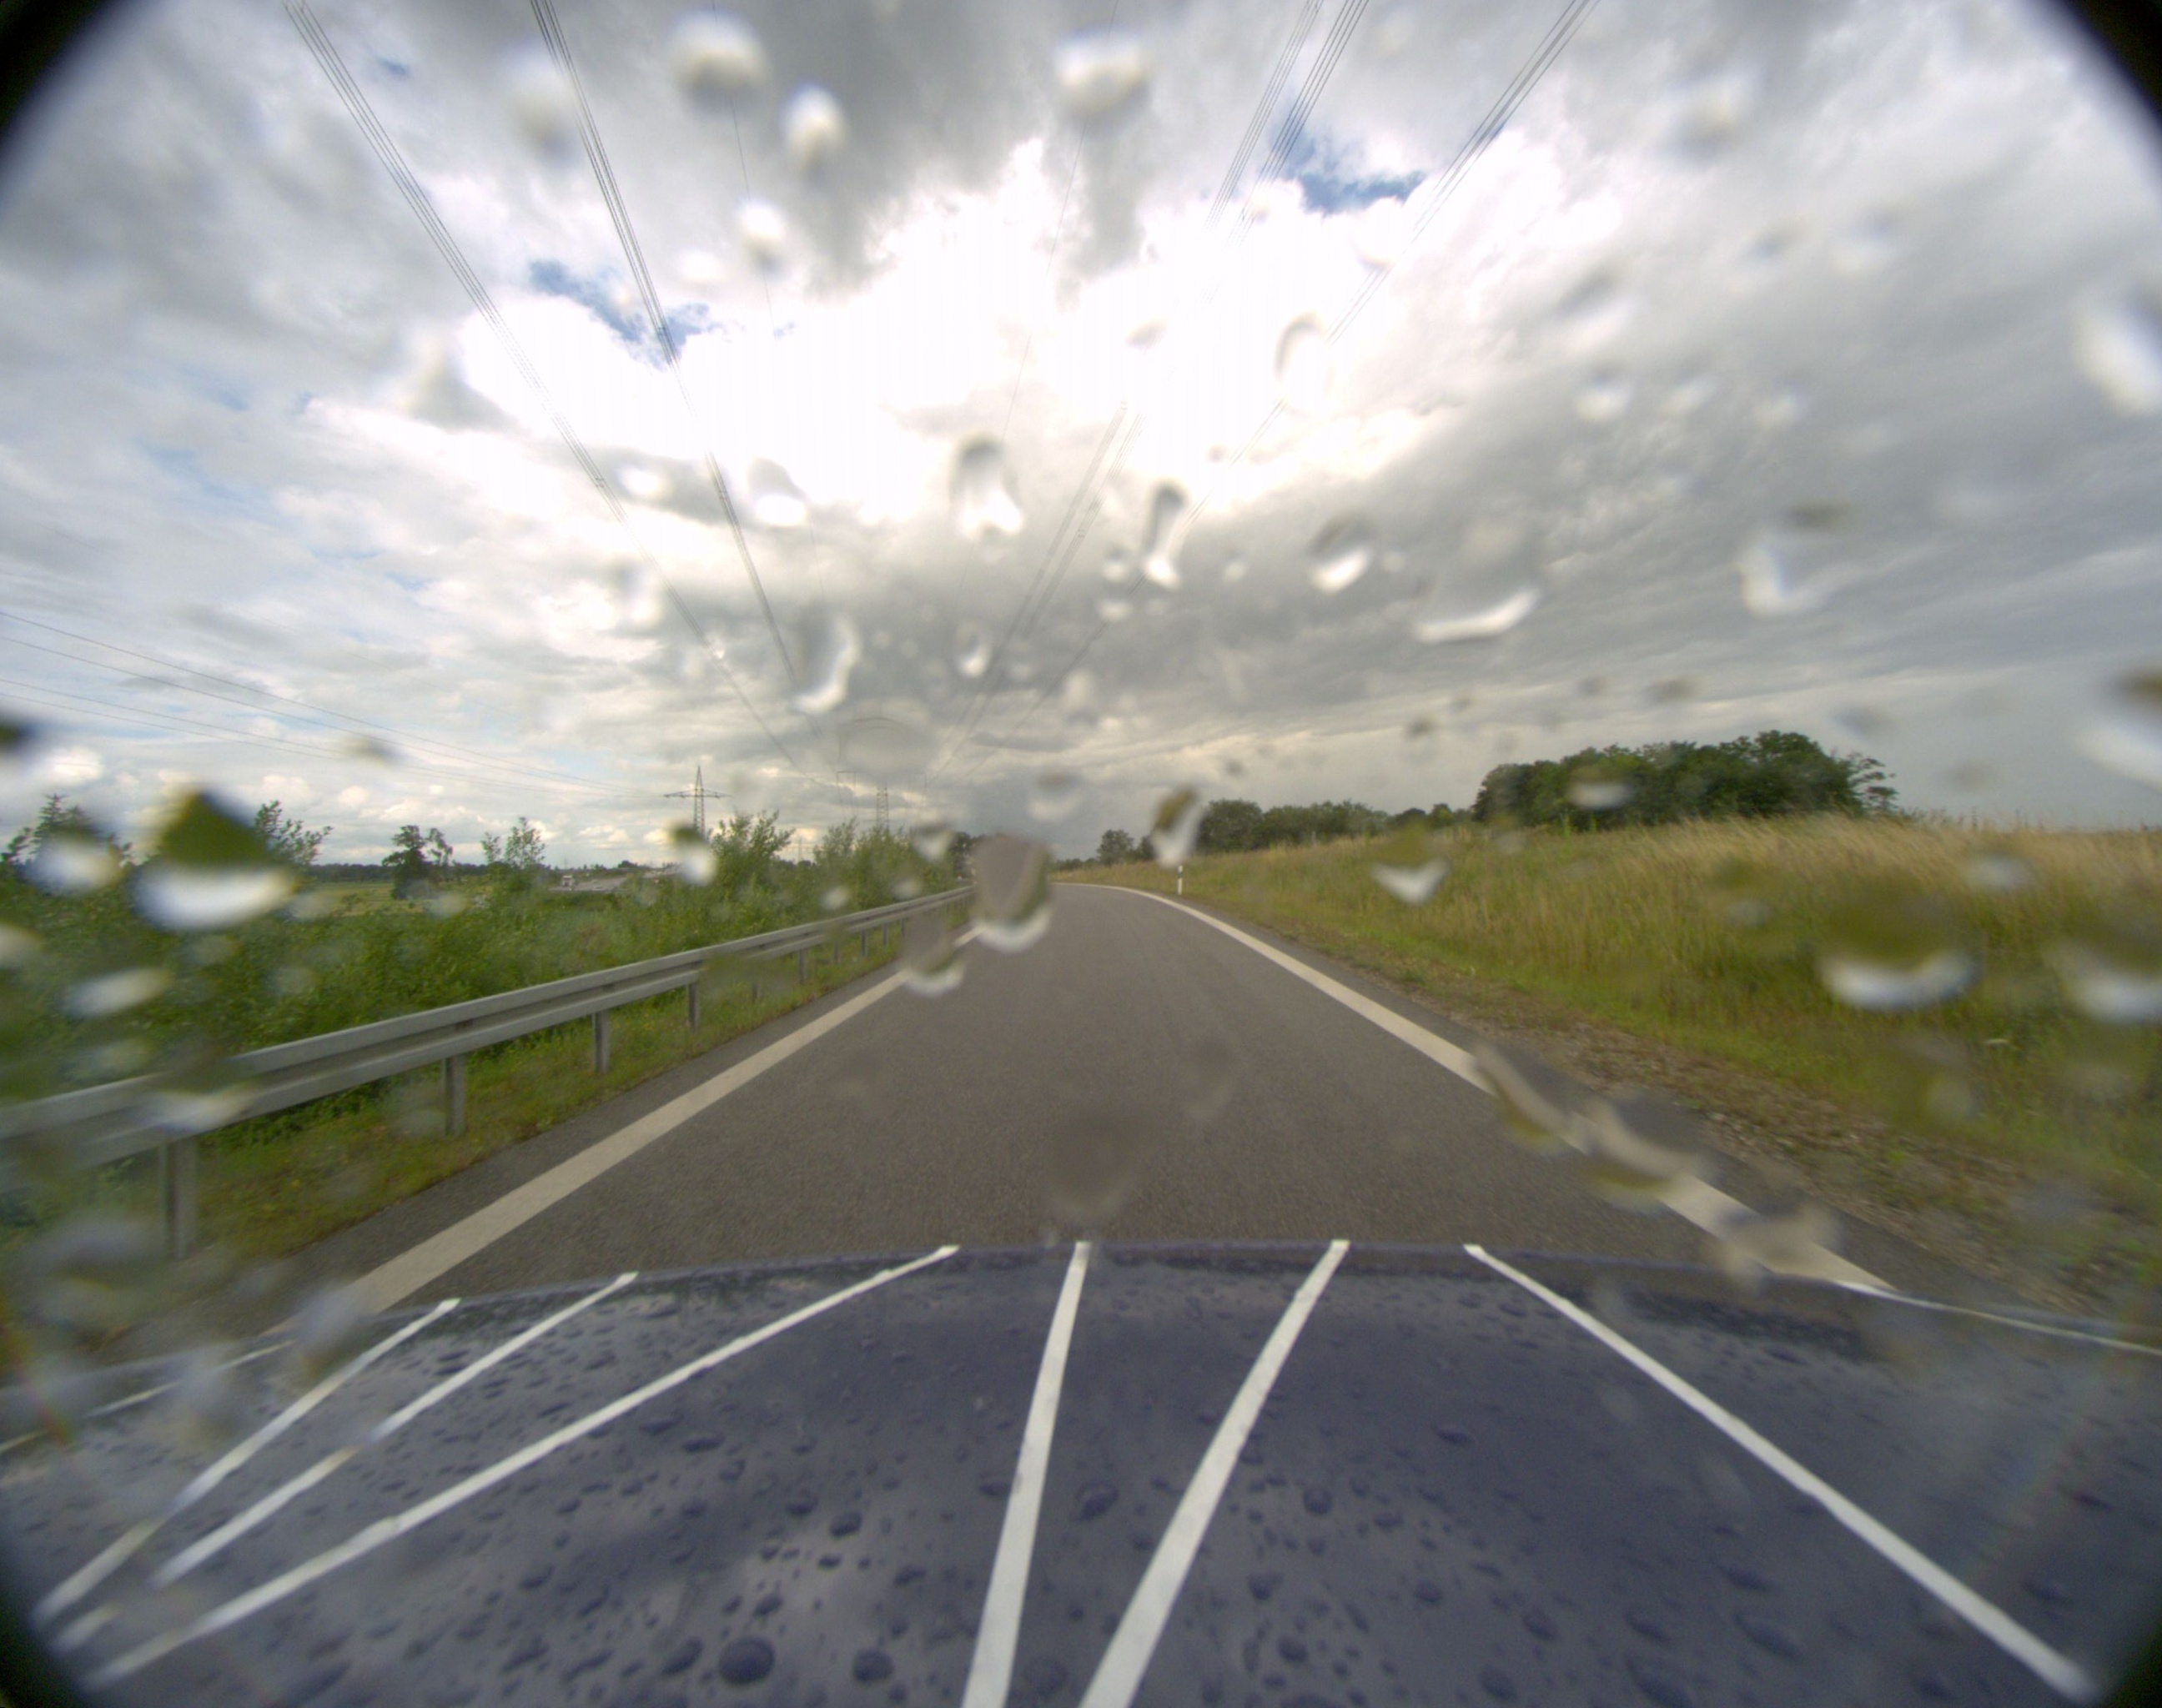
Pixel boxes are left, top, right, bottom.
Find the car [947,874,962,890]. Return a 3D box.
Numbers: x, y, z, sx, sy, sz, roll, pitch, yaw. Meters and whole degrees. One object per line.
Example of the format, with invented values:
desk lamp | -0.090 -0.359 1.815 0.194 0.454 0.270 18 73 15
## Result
car | -22.197 4.946 133.438 2.333 2.709 6.281 -1 -2 -8
